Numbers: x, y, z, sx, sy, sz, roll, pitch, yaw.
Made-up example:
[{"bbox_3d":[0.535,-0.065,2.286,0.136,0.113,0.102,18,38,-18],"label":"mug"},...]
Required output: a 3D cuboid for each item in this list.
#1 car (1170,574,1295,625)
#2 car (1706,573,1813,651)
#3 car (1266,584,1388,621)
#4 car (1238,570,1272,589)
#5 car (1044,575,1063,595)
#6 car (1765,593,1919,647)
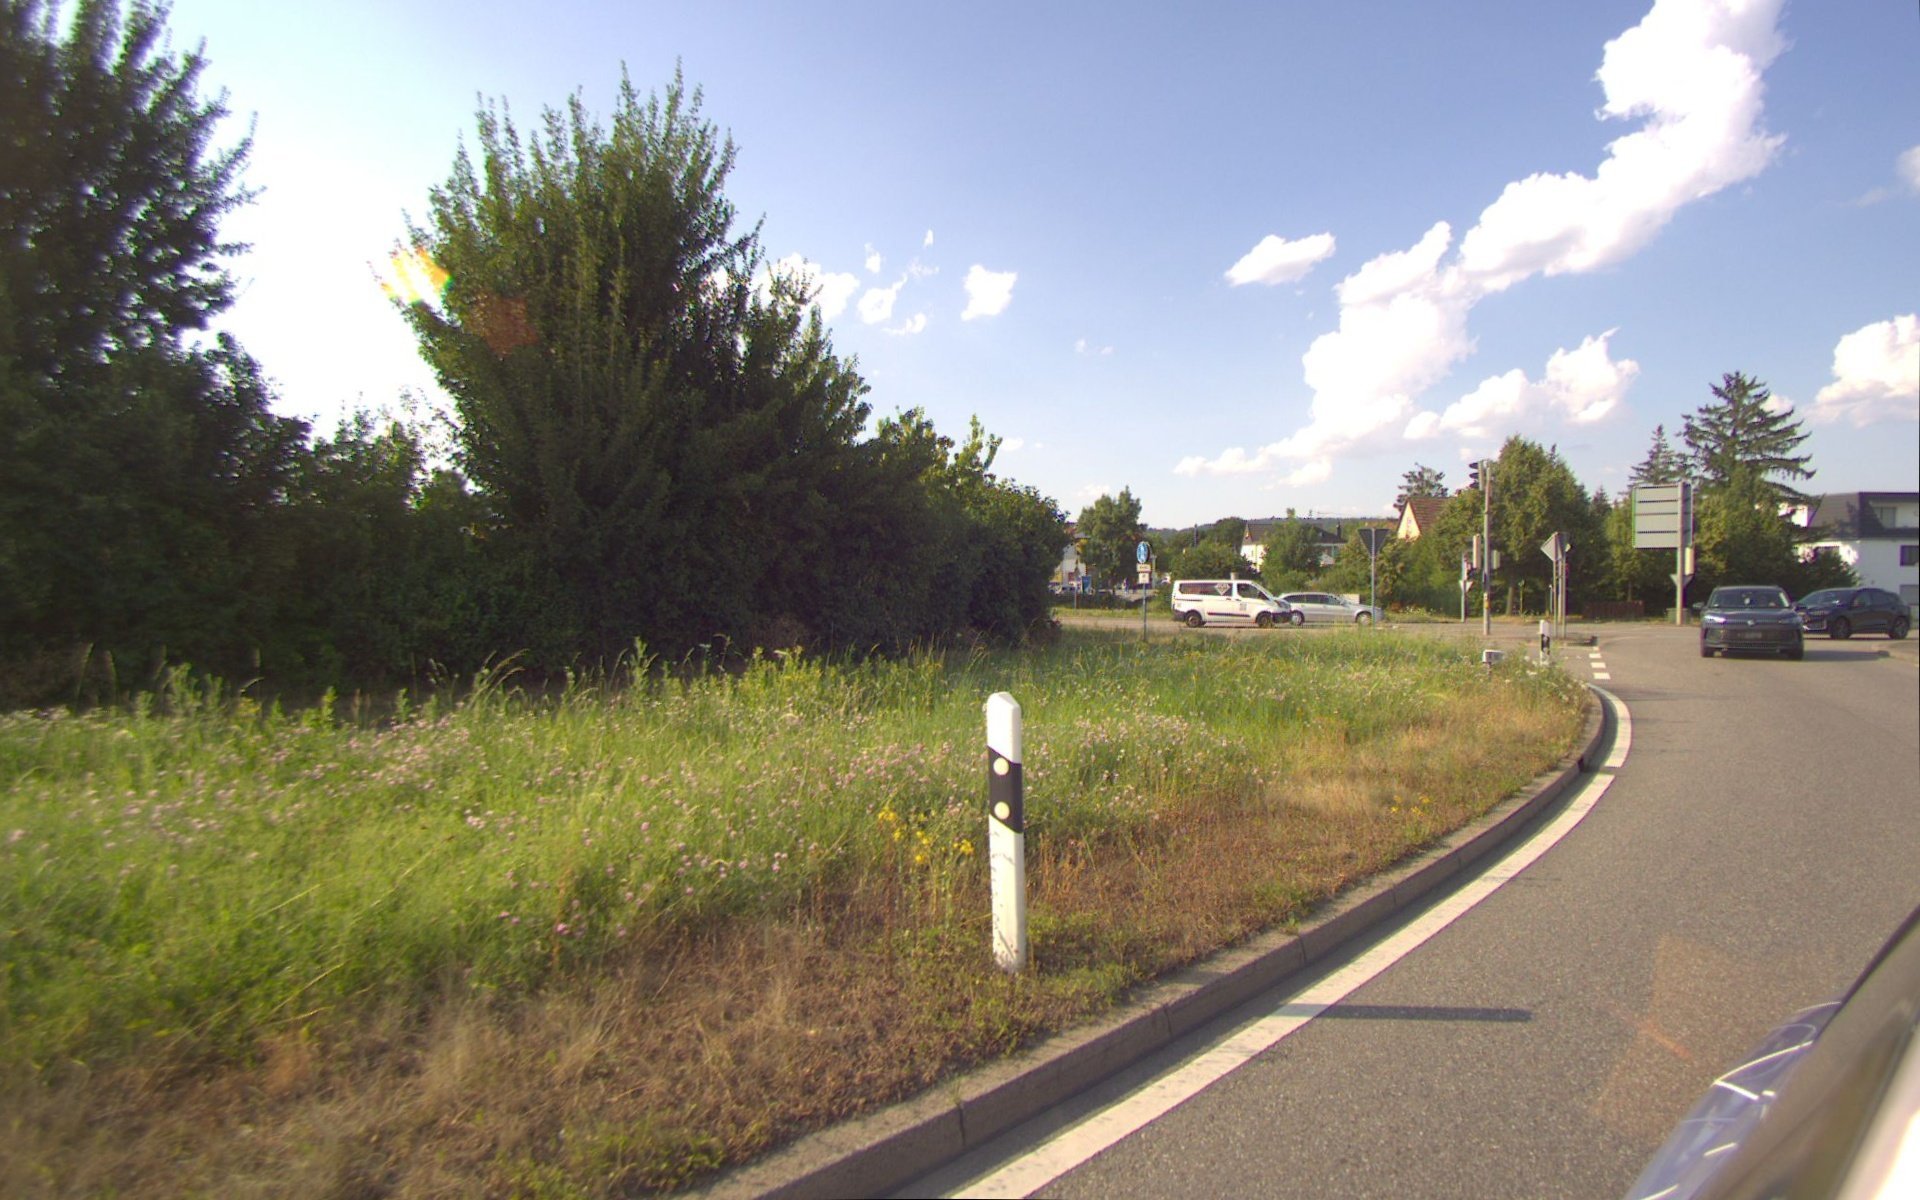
[{"bbox_3d":[11.236,-0.038,41.762,4.764,1.972,1.891,1,0,23],"label":"car"},{"bbox_3d":[18.670,0.277,23.677,1.780,1.650,4.406,-1,-1,38],"label":"car"},{"bbox_3d":[15.989,0.135,44.150,4.897,1.533,1.848,-1,-1,24],"label":"car"},{"bbox_3d":[26.232,-1.812,90.049,1.575,1.601,3.591,0,-1,-7],"label":"car"},{"bbox_3d":[9.244,-1.450,100.271,1.578,1.907,2.934,0,-1,1],"label":"car"},{"bbox_3d":[28.324,0.622,32.279,4.452,1.634,1.779,0,-1,-14],"label":"car"}]
